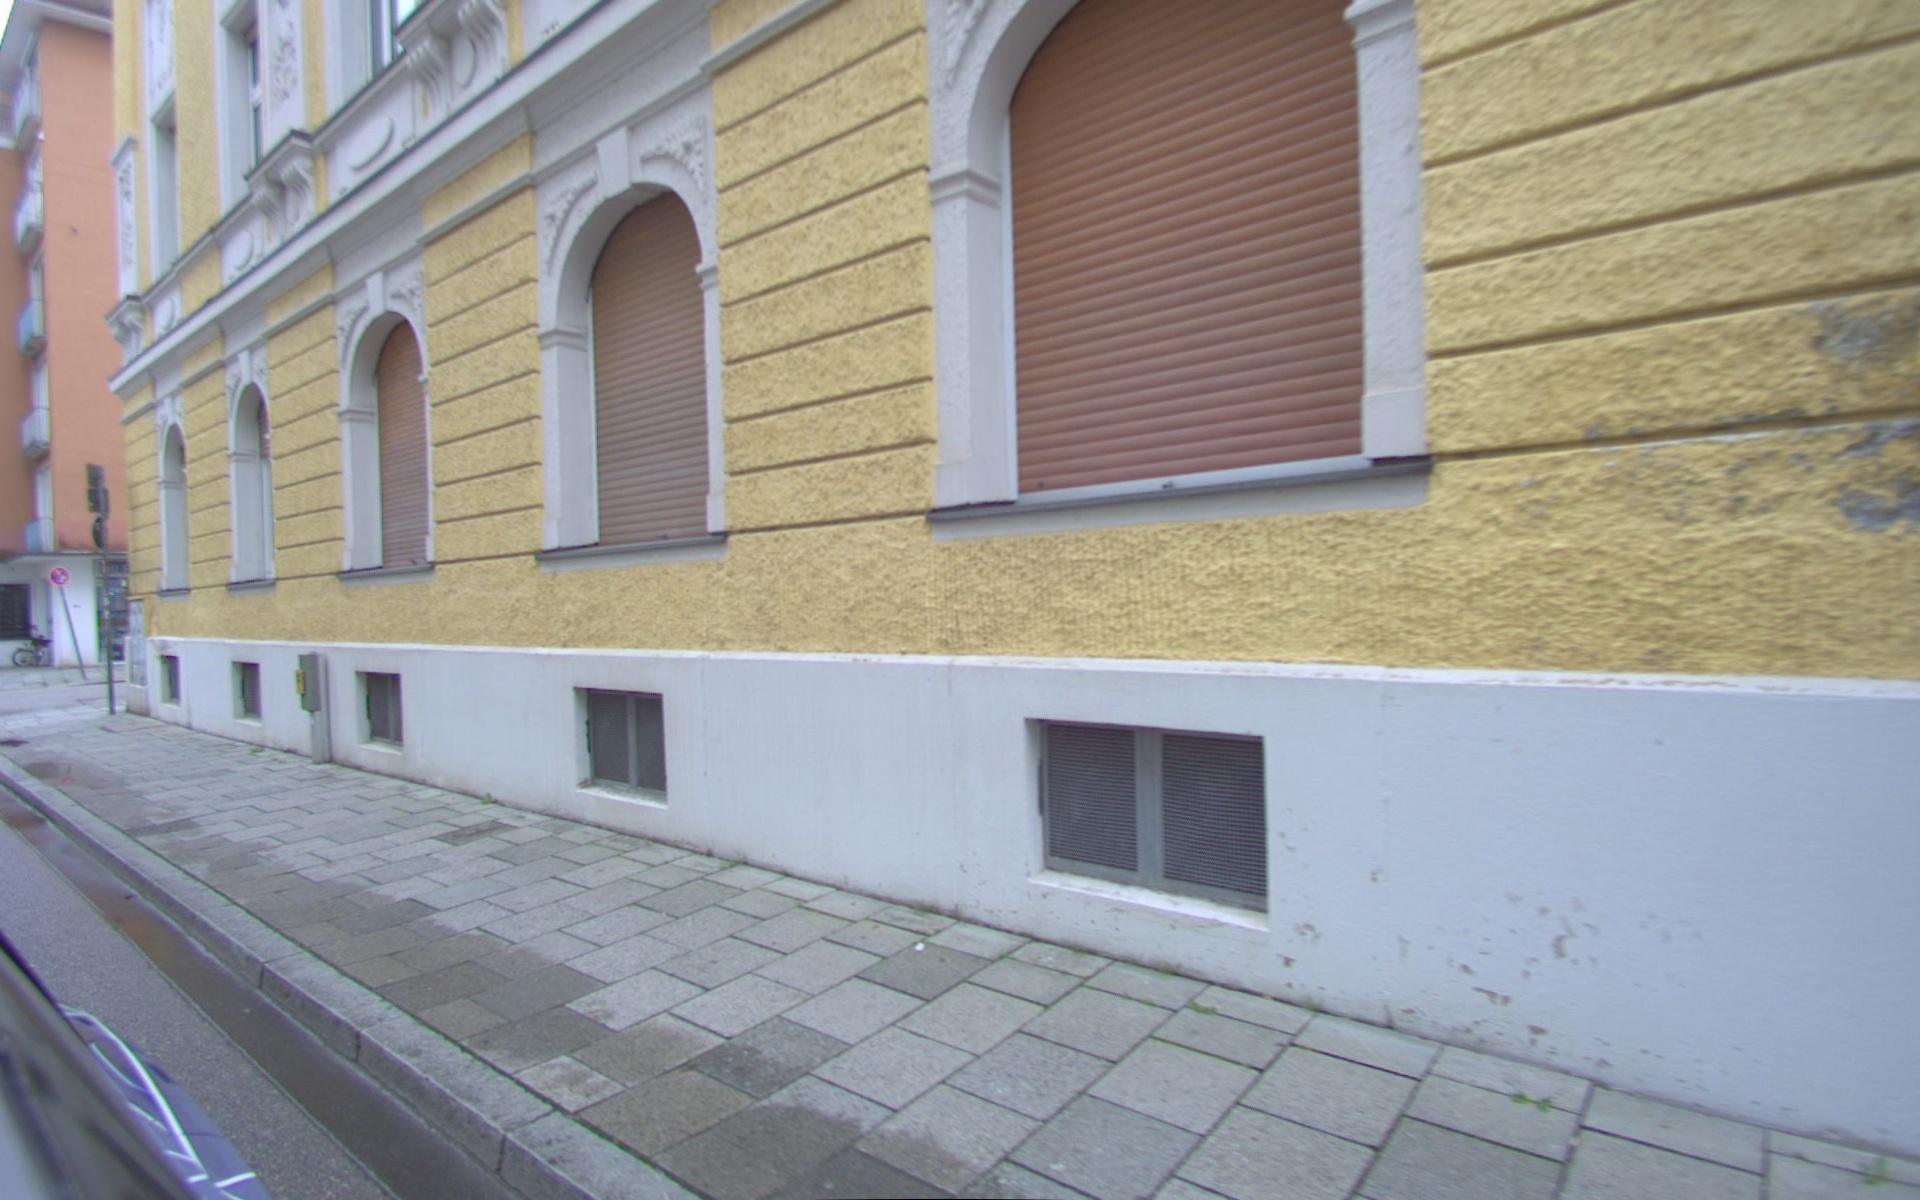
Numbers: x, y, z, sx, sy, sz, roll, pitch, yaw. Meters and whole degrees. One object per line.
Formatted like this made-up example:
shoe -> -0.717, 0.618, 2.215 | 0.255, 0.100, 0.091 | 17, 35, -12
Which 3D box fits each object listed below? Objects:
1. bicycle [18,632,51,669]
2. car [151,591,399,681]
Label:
bicycle -> -24.512, 1.336, 26.797 | 1.513, 0.936, 0.465 | -1, 0, 42
car -> -16.356, 0.826, 24.334 | 1.934, 1.861, 4.616 | -7, -4, 43
